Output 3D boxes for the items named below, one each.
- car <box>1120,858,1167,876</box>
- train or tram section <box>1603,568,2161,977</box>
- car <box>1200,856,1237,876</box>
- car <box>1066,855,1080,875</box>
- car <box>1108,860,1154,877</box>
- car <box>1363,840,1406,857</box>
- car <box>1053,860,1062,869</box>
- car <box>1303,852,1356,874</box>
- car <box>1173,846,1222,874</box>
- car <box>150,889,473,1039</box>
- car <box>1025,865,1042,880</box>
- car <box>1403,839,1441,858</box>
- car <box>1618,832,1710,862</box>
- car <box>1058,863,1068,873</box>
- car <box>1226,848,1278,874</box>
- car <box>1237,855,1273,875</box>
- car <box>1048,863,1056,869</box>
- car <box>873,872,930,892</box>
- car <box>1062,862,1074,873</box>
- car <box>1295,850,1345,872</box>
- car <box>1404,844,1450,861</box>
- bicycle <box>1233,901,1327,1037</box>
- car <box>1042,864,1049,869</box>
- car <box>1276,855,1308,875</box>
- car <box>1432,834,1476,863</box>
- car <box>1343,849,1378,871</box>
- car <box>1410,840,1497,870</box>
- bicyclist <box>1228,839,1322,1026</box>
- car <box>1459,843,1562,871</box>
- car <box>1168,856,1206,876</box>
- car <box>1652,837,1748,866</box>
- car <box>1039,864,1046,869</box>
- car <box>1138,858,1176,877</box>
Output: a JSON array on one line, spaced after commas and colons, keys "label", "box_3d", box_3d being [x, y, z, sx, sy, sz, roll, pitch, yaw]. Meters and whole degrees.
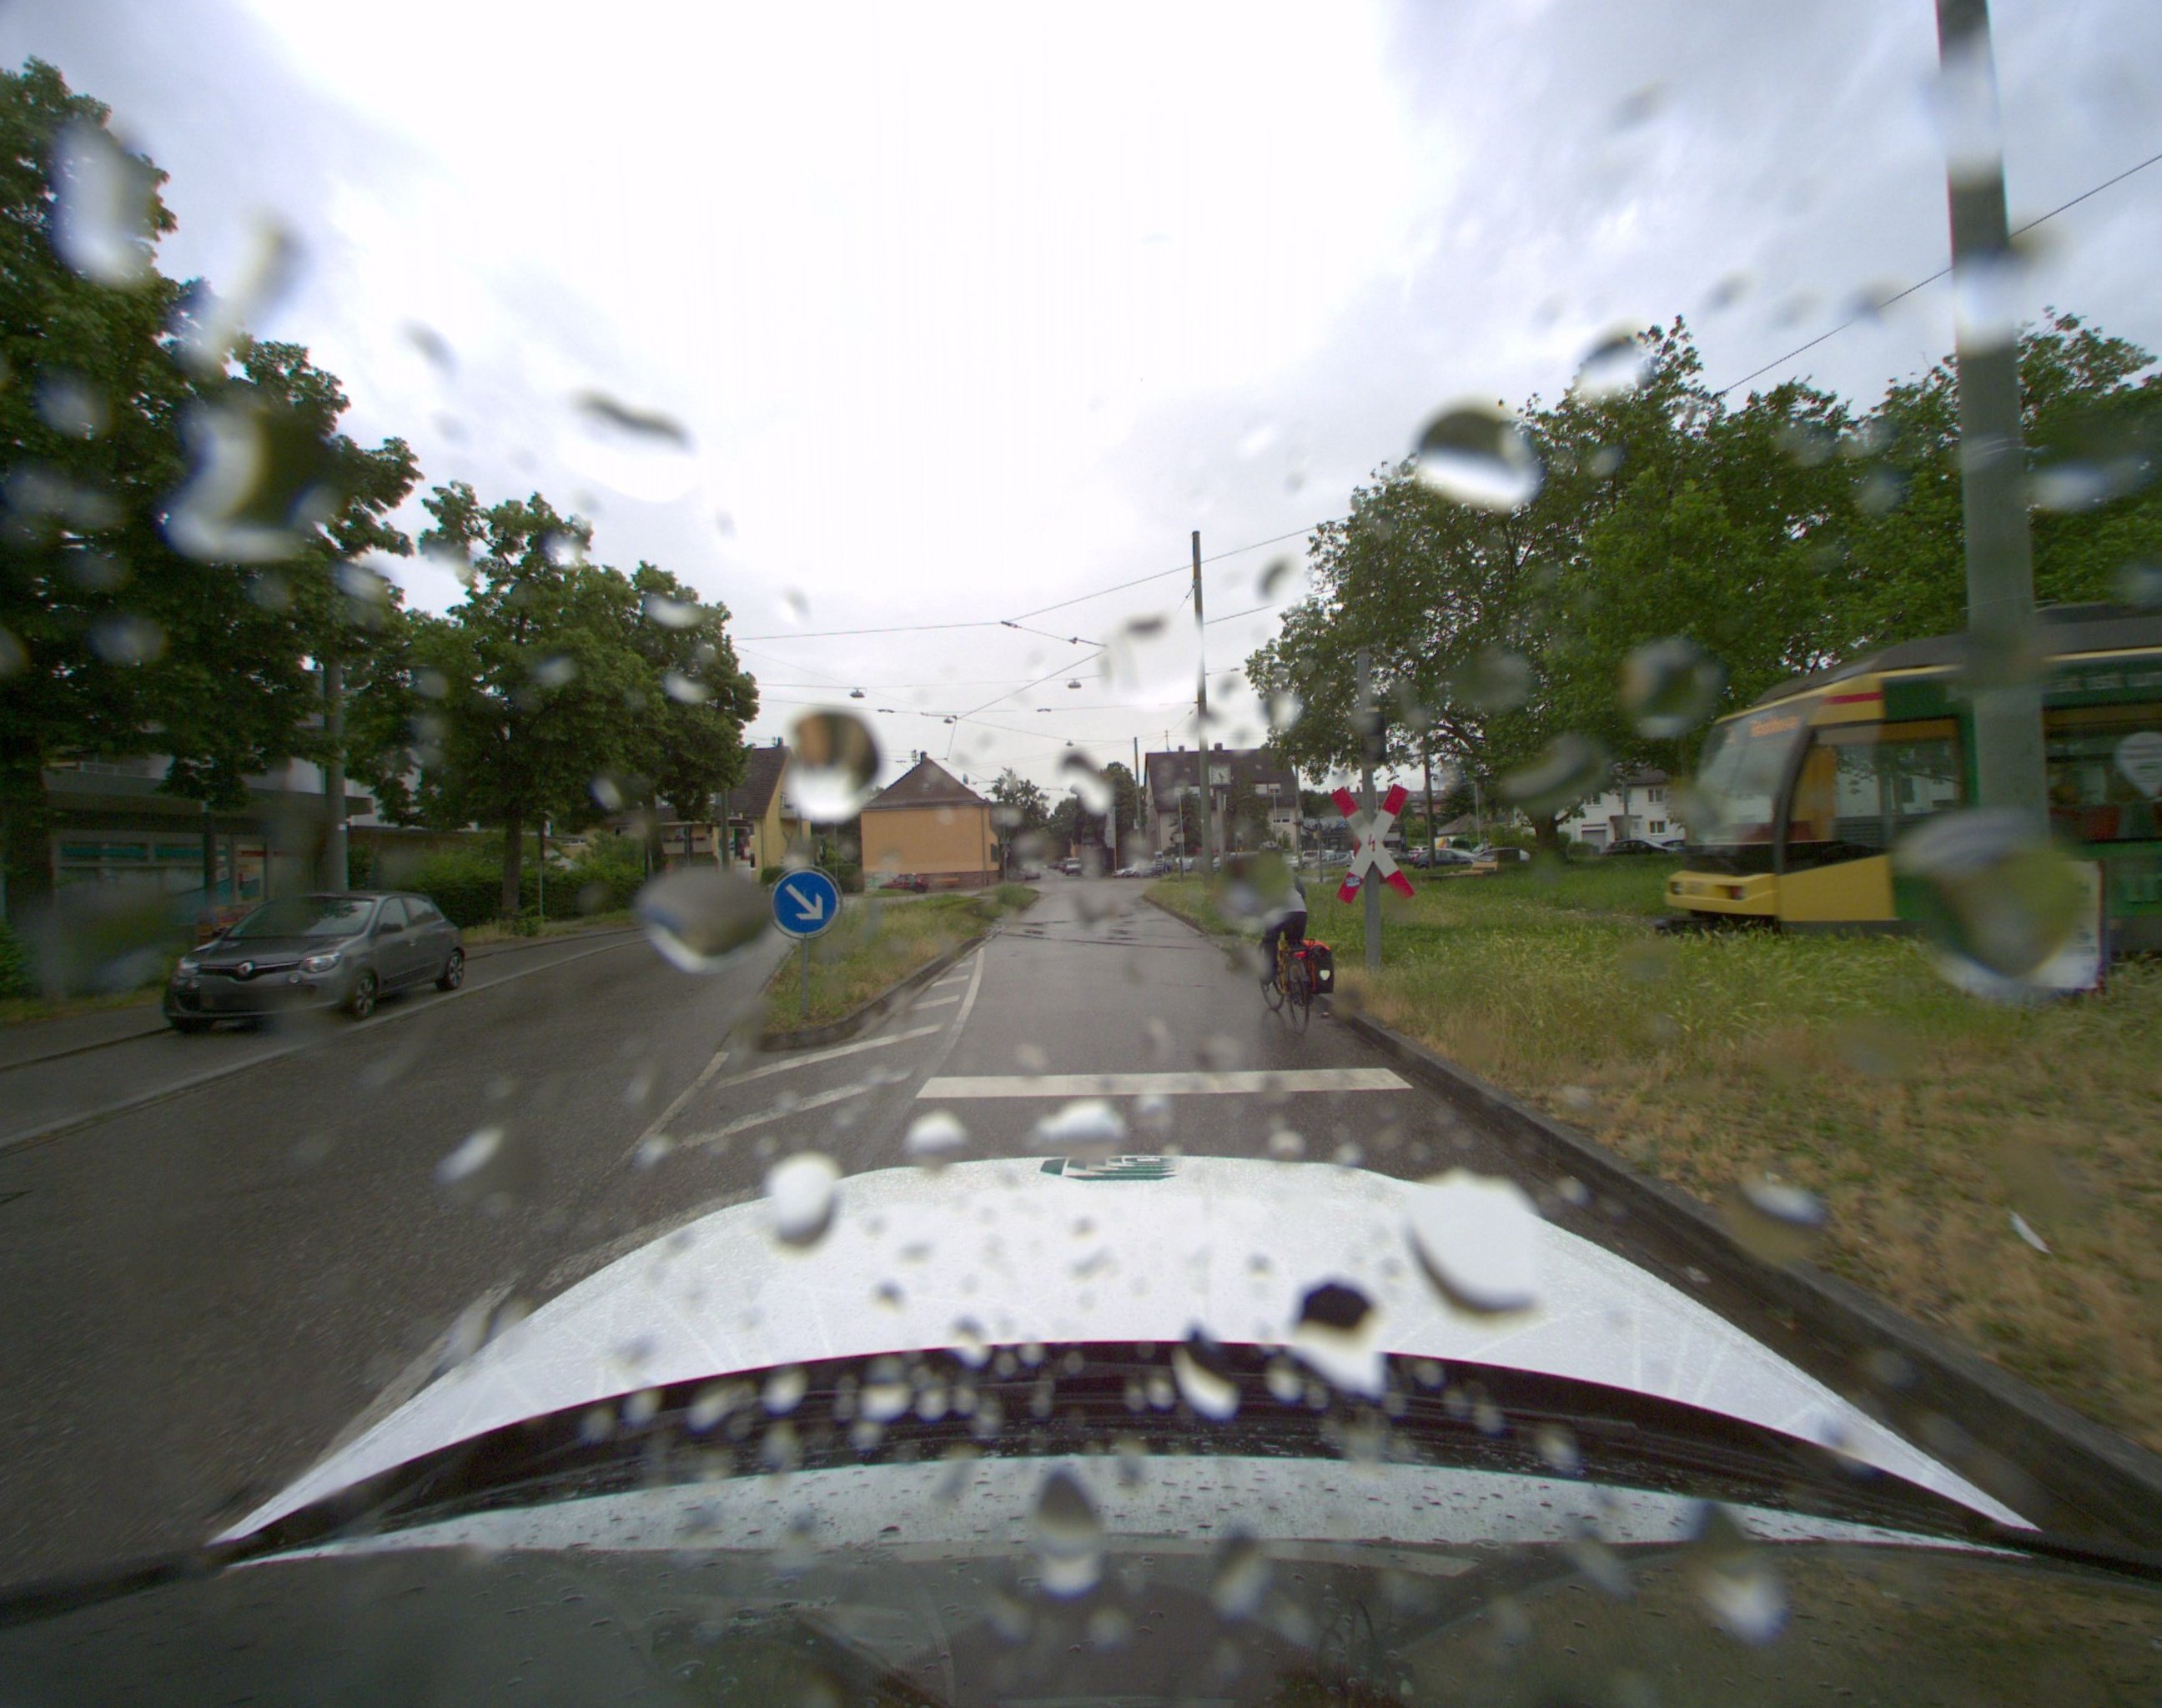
[{"label": "car", "box_3d": [5.793, 1.224, 75.714, 4.015, 1.675, 1.979, 0, -1, -34]}, {"label": "train or tram section", "box_3d": [12.942, -0.922, 7.885, 12.999, 3.553, 2.779, -3, -1, 12]}, {"label": "car", "box_3d": [11.697, 0.993, 69.055, 1.975, 1.640, 4.024, -1, -1, 27]}, {"label": "car", "box_3d": [-1.002, 1.477, 107.103, 1.799, 2.627, 3.999, 0, -1, 0]}, {"label": "car", "box_3d": [4.829, 1.382, 78.807, 4.015, 1.643, 1.979, 0, -1, -34]}, {"label": "car", "box_3d": [33.171, -0.590, 89.020, 3.968, 1.791, 2.002, -1, -1, 4]}, {"label": "car", "box_3d": [-4.712, 2.149, 163.827, 1.799, 1.811, 3.999, 0, -1, 0]}, {"label": "car", "box_3d": [19.374, 0.725, 63.608, 3.670, 1.701, 1.891, 0, -1, 2]}, {"label": "car", "box_3d": [11.264, 0.607, 78.530, 4.361, 2.566, 2.008, -1, -1, 16]}, {"label": "car", "box_3d": [-9.722, 1.260, 10.717, 1.621, 1.496, 3.645, 0, -1, -17]}, {"label": "car", "box_3d": [-5.495, 2.117, 94.849, 1.799, 1.651, 3.999, 0, -1, 0]}, {"label": "car", "box_3d": [39.149, -0.628, 93.675, 1.998, 2.014, 3.978, 0, -1, -16]}, {"label": "car", "box_3d": [30.749, -0.336, 43.065, 3.865, 1.495, 1.822, -1, -1, 35]}, {"label": "car", "box_3d": [-3.261, 2.458, 146.537, 1.799, 1.811, 3.999, 0, -1, 0]}, {"label": "car", "box_3d": [15.707, 0.629, 74.845, 4.381, 2.325, 1.999, 0, -1, 0]}, {"label": "car", "box_3d": [14.812, 0.971, 69.196, 1.975, 1.640, 4.024, -1, -1, 27]}, {"label": "car", "box_3d": [-7.419, 3.103, 210.532, 1.799, 1.564, 3.999, 0, -1, 0]}, {"label": "car", "box_3d": [-13.602, 2.137, 61.913, 3.979, 1.456, 1.830, 0, -1, -4]}, {"label": "car", "box_3d": [-2.069, 2.110, 127.011, 1.799, 1.811, 3.999, 0, -1, 0]}, {"label": "car", "box_3d": [21.888, 0.635, 74.724, 3.974, 1.951, 1.999, 0, -1, -1]}, {"label": "car", "box_3d": [35.516, -0.168, 83.726, 3.971, 1.640, 1.847, 0, -1, 2]}, {"label": "bicycle", "box_3d": [1.807, 1.000, 7.594, 0.444, 1.004, 1.728, -2, 0, 1]}, {"label": "car", "box_3d": [-9.833, 3.473, 227.786, 1.799, 1.461, 3.999, 0, -1, 0]}, {"label": "car", "box_3d": [18.046, 0.951, 69.503, 1.823, 1.640, 4.024, -1, -1, 27]}, {"label": "car", "box_3d": [32.811, -0.448, 71.780, 1.986, 2.443, 4.354, 0, -1, 1]}, {"label": "car", "box_3d": [24.207, 0.526, 70.678, 1.983, 1.791, 4.006, -1, -1, 6]}, {"label": "car", "box_3d": [20.051, 0.085, 43.930, 1.821, 1.495, 3.867, 1, -2, -44]}, {"label": "bicyclist", "box_3d": [1.776, 0.692, 7.564, 0.665, 1.626, 0.853, 0, -1, 1]}, {"label": "car", "box_3d": [20.525, 0.158, 39.049, 3.963, 1.285, 1.851, -1, -1, 9]}, {"label": "car", "box_3d": [9.167, 1.034, 70.289, 1.975, 1.640, 4.024, -1, -1, 27]}, {"label": "car", "box_3d": [33.231, -0.099, 43.772, 1.821, 1.495, 3.867, 1, -2, -44]}, {"label": "car", "box_3d": [-11.135, 3.575, 233.096, 1.799, 1.461, 3.999, 0, -1, 0]}, {"label": "car", "box_3d": [6.724, 1.185, 71.596, 1.975, 1.640, 4.024, -1, -1, 27]}]
